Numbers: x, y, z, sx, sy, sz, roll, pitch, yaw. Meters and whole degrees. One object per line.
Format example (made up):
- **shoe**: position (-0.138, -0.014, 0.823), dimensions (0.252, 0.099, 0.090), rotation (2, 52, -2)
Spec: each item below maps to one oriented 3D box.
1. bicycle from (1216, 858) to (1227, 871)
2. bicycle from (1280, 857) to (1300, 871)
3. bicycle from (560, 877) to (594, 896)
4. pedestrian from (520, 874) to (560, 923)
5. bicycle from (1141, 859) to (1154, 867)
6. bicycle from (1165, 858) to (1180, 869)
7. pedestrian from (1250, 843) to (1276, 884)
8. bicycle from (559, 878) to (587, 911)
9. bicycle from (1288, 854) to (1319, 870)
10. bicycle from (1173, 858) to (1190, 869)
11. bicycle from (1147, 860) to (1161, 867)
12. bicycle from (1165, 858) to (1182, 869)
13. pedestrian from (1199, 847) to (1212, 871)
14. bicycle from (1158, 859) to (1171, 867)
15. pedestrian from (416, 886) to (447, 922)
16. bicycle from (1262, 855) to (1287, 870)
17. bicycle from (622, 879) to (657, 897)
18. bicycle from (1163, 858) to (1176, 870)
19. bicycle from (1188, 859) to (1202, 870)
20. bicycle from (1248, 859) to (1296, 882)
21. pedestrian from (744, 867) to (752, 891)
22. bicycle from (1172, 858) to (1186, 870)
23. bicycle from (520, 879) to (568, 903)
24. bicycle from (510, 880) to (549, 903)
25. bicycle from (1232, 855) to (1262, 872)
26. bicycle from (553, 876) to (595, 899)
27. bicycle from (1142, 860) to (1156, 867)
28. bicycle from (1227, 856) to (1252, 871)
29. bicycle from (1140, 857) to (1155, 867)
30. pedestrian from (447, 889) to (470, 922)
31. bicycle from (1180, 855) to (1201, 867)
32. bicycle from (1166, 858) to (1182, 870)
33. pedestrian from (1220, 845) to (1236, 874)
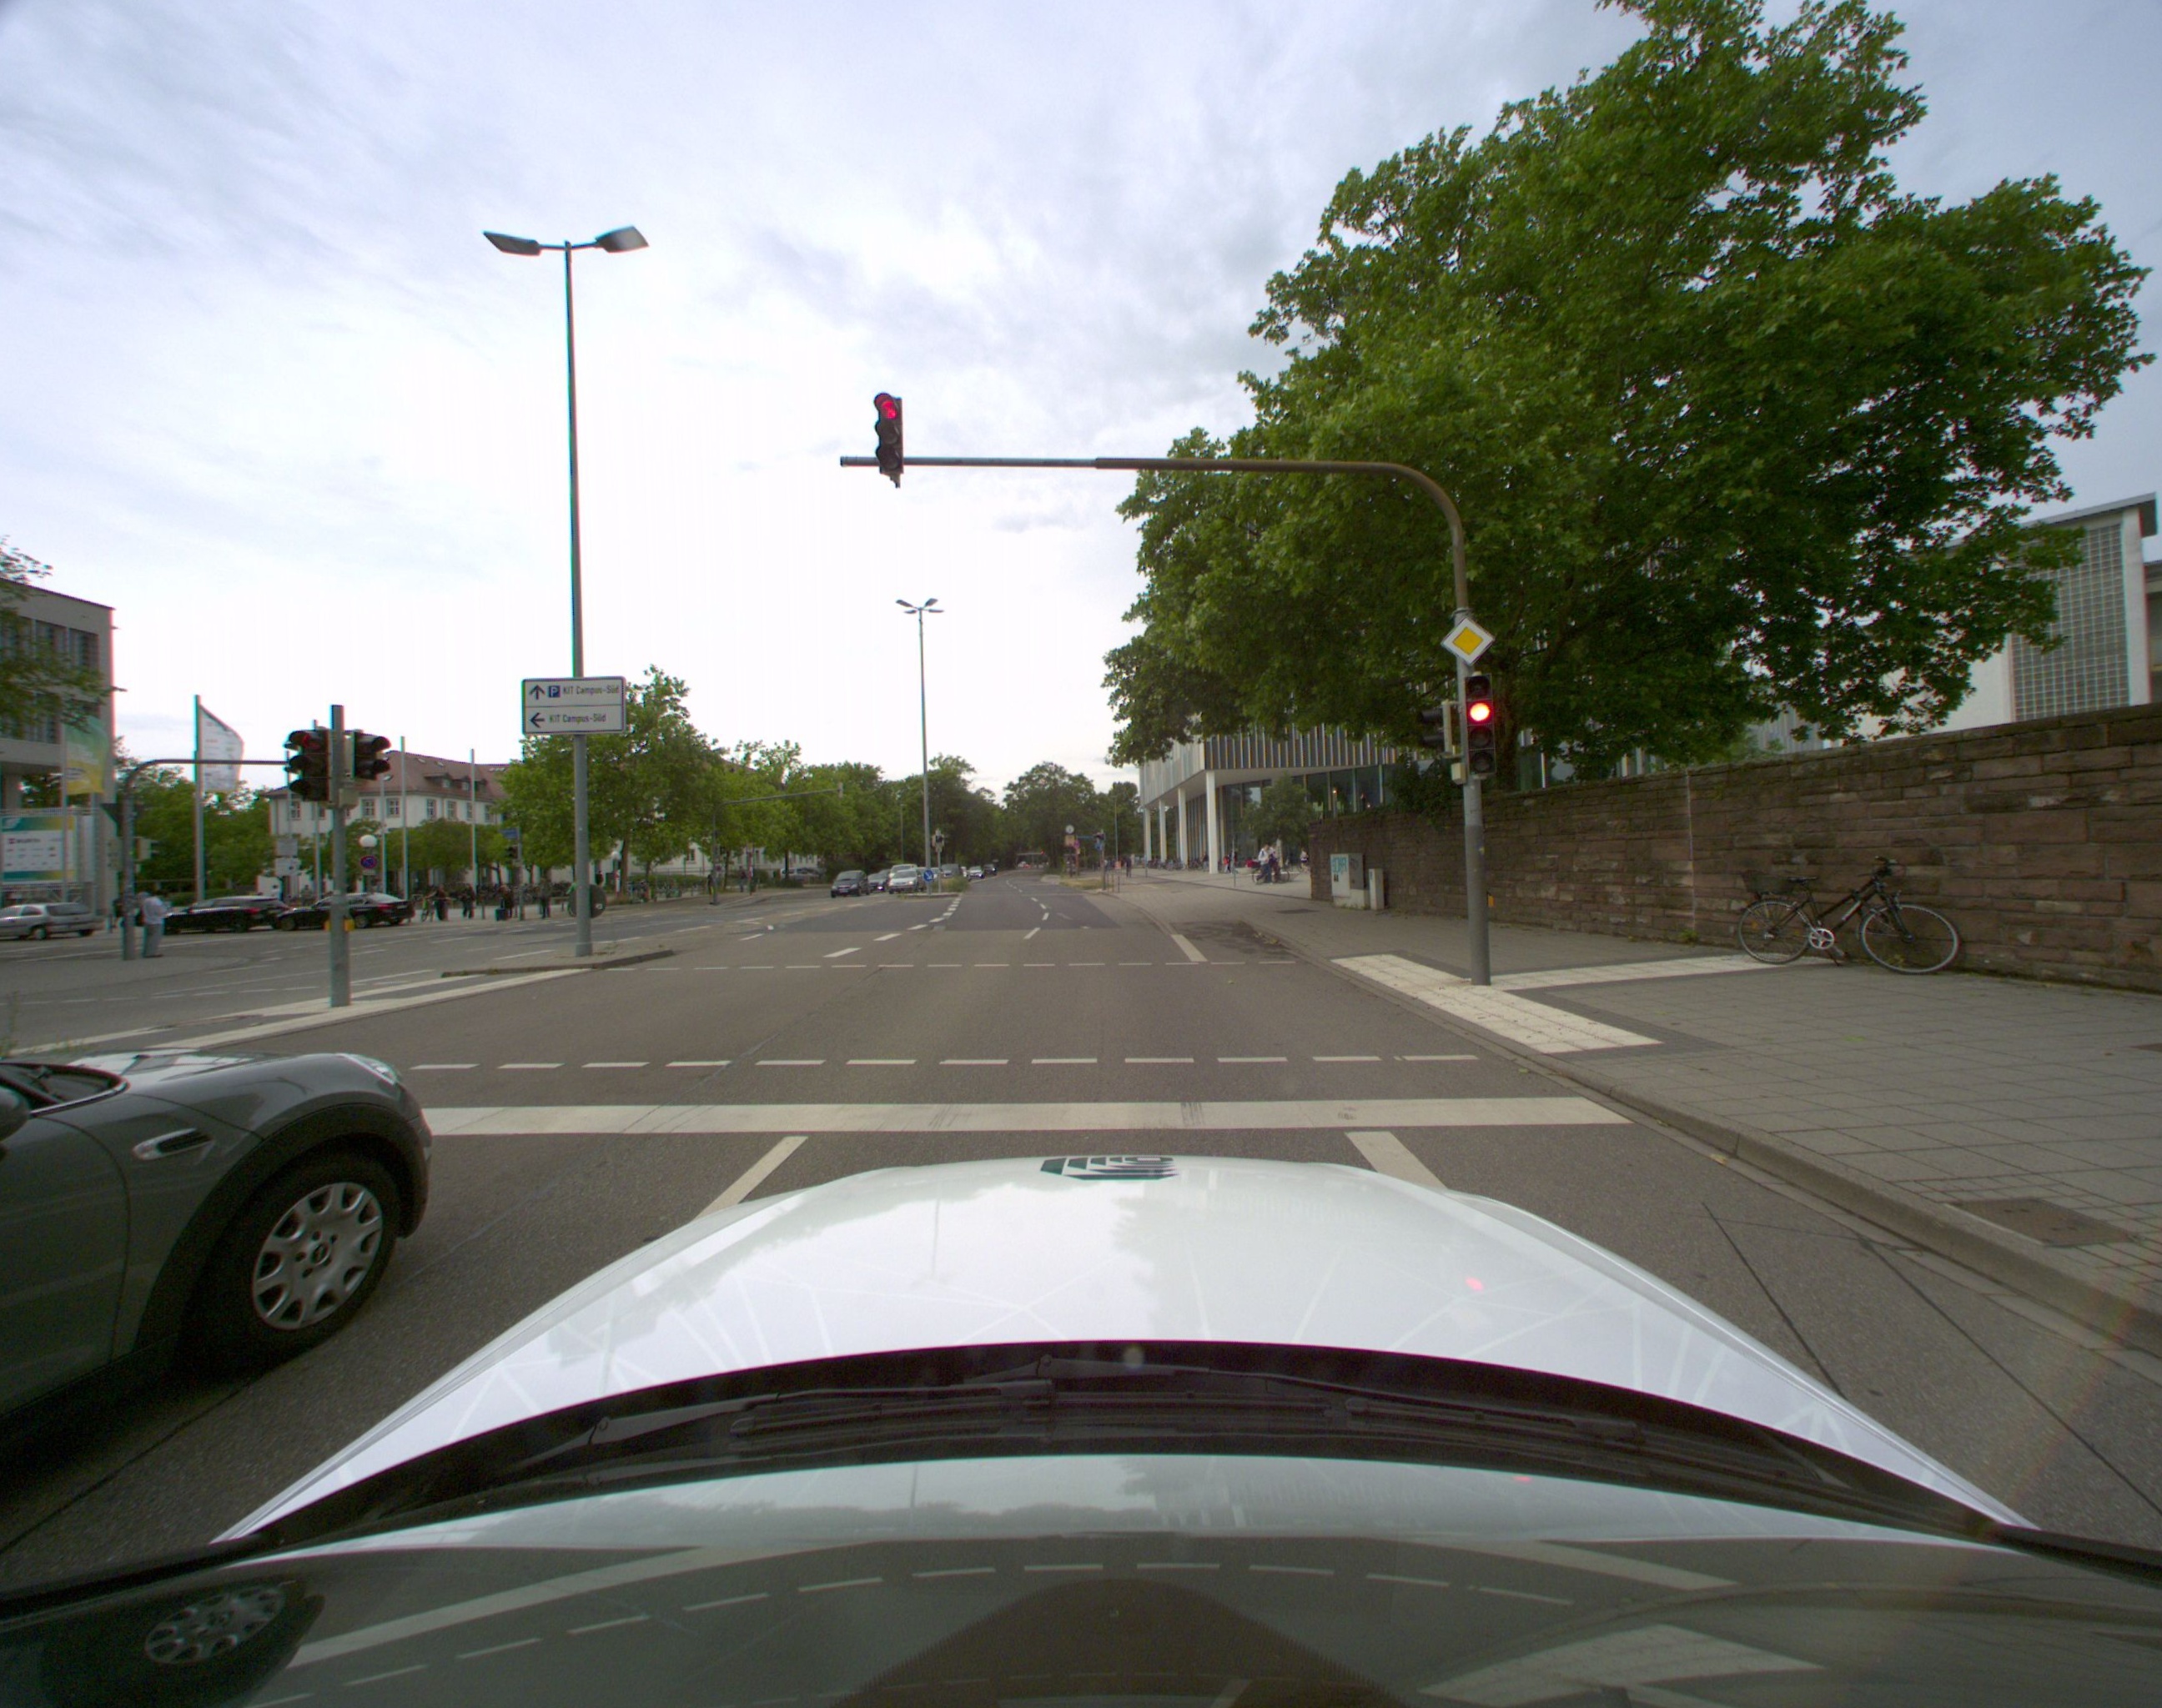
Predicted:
- **bicycle**: position (11.104, 0.820, 64.490), dimensions (0.636, 1.061, 1.841), rotation (0, -1, 2)
- **bicycle**: position (15.075, 0.718, 58.772), dimensions (0.663, 0.899, 1.857), rotation (-3, -1, 39)
- **bicycle**: position (-44.299, 2.828, 71.562), dimensions (2.639, 1.559, 0.926), rotation (-2, -1, 15)
- **pedestrian**: position (-22.823, 1.850, 34.405), dimensions (1.185, 2.014, 1.134), rotation (0, -1, -22)
- **bicycle**: position (8.585, 1.123, 104.603), dimensions (1.602, 0.875, 0.556), rotation (-3, -1, -2)
- **bicycle**: position (9.305, 1.001, 83.061), dimensions (1.396, 1.043, 0.559), rotation (-4, -1, -2)
- **pedestrian**: position (8.075, 0.420, 36.068), dimensions (0.773, 1.795, 0.795), rotation (-3, -1, 41)
- **bicycle**: position (-22.457, 1.769, 36.022), dimensions (0.607, 1.333, 2.294), rotation (0, -1, -21)
- **bicycle**: position (15.535, 0.585, 56.786), dimensions (2.200, 1.006, 0.774), rotation (-2, -2, -32)
- **bicycle**: position (10.161, 0.933, 82.222), dimensions (1.597, 0.936, 0.570), rotation (-5, 0, 8)
- **bicycle**: position (9.180, 1.189, 102.065), dimensions (1.602, 0.875, 0.556), rotation (-3, -1, -2)
- **bicycle**: position (9.514, 0.988, 83.640), dimensions (1.602, 0.982, 0.556), rotation (-5, -1, -2)
- **pedestrian**: position (10.798, 0.458, 70.523), dimensions (0.889, 2.014, 0.845), rotation (-2, -1, -1)
- **bicycle**: position (9.252, 0.989, 90.013), dimensions (1.280, 0.875, 0.556), rotation (-3, -1, -2)
- **pedestrian**: position (-28.672, 2.180, 35.954), dimensions (0.825, 1.513, 0.968), rotation (0, -1, -22)
- **bicycle**: position (14.058, 0.610, 59.137), dimensions (1.971, 1.002, 0.765), rotation (-2, -1, -44)
- **bicycle**: position (-31.197, 2.418, 57.567), dimensions (2.036, 1.153, 0.717), rotation (-2, -1, -20)
- **bicycle**: position (8.623, 0.955, 79.441), dimensions (0.635, 1.140, 2.196), rotation (-5, 0, -6)
- **bicycle**: position (10.499, 0.954, 74.958), dimensions (1.496, 0.929, 0.435), rotation (-3, 1, -41)
- **bicycle**: position (8.693, 0.749, 37.041), dimensions (1.950, 1.018, 0.801), rotation (-1, -1, 36)
- **pedestrian**: position (-24.226, 1.846, 59.291), dimensions (0.419, 1.739, 0.433), rotation (0, -1, -9)
- **bicycle**: position (9.216, 0.973, 76.663), dimensions (0.608, 1.080, 1.954), rotation (-4, 0, -13)
- **bicycle**: position (-38.232, 2.650, 58.027), dimensions (2.661, 1.559, 0.918), rotation (-2, -1, -13)
- **bicycle**: position (-42.076, 2.863, 62.137), dimensions (2.639, 1.559, 0.926), rotation (-3, -1, 15)
- **bicycle**: position (12.444, 0.695, 61.003), dimensions (2.736, 1.188, 0.765), rotation (-2, -1, -44)
- **bicycle**: position (-37.864, 2.472, 60.890), dimensions (2.447, 1.559, 0.918), rotation (-2, -1, -13)
- **bicycle**: position (8.634, 1.192, 103.645), dimensions (1.602, 0.875, 0.556), rotation (-3, -1, -2)
- **bicycle**: position (12.132, 0.716, 62.390), dimensions (0.727, 1.115, 2.196), rotation (-3, -1, 45)
- **bicycle**: position (8.654, 1.045, 106.604), dimensions (1.791, 1.082, 0.625), rotation (-4, 0, -4)
- **pedestrian**: position (-27.741, 2.277, 36.298), dimensions (0.702, 1.428, 0.991), rotation (0, -1, -30)
- **bicycle**: position (11.471, 0.740, 85.399), dimensions (1.962, 1.144, 0.652), rotation (-4, 0, 39)
- **bicycle**: position (9.746, 1.009, 85.234), dimensions (1.636, 1.091, 0.573), rotation (-5, -1, 6)
- **pedestrian**: position (10.326, 0.394, 57.298), dimensions (0.840, 2.014, 0.894), rotation (-2, -1, -1)
